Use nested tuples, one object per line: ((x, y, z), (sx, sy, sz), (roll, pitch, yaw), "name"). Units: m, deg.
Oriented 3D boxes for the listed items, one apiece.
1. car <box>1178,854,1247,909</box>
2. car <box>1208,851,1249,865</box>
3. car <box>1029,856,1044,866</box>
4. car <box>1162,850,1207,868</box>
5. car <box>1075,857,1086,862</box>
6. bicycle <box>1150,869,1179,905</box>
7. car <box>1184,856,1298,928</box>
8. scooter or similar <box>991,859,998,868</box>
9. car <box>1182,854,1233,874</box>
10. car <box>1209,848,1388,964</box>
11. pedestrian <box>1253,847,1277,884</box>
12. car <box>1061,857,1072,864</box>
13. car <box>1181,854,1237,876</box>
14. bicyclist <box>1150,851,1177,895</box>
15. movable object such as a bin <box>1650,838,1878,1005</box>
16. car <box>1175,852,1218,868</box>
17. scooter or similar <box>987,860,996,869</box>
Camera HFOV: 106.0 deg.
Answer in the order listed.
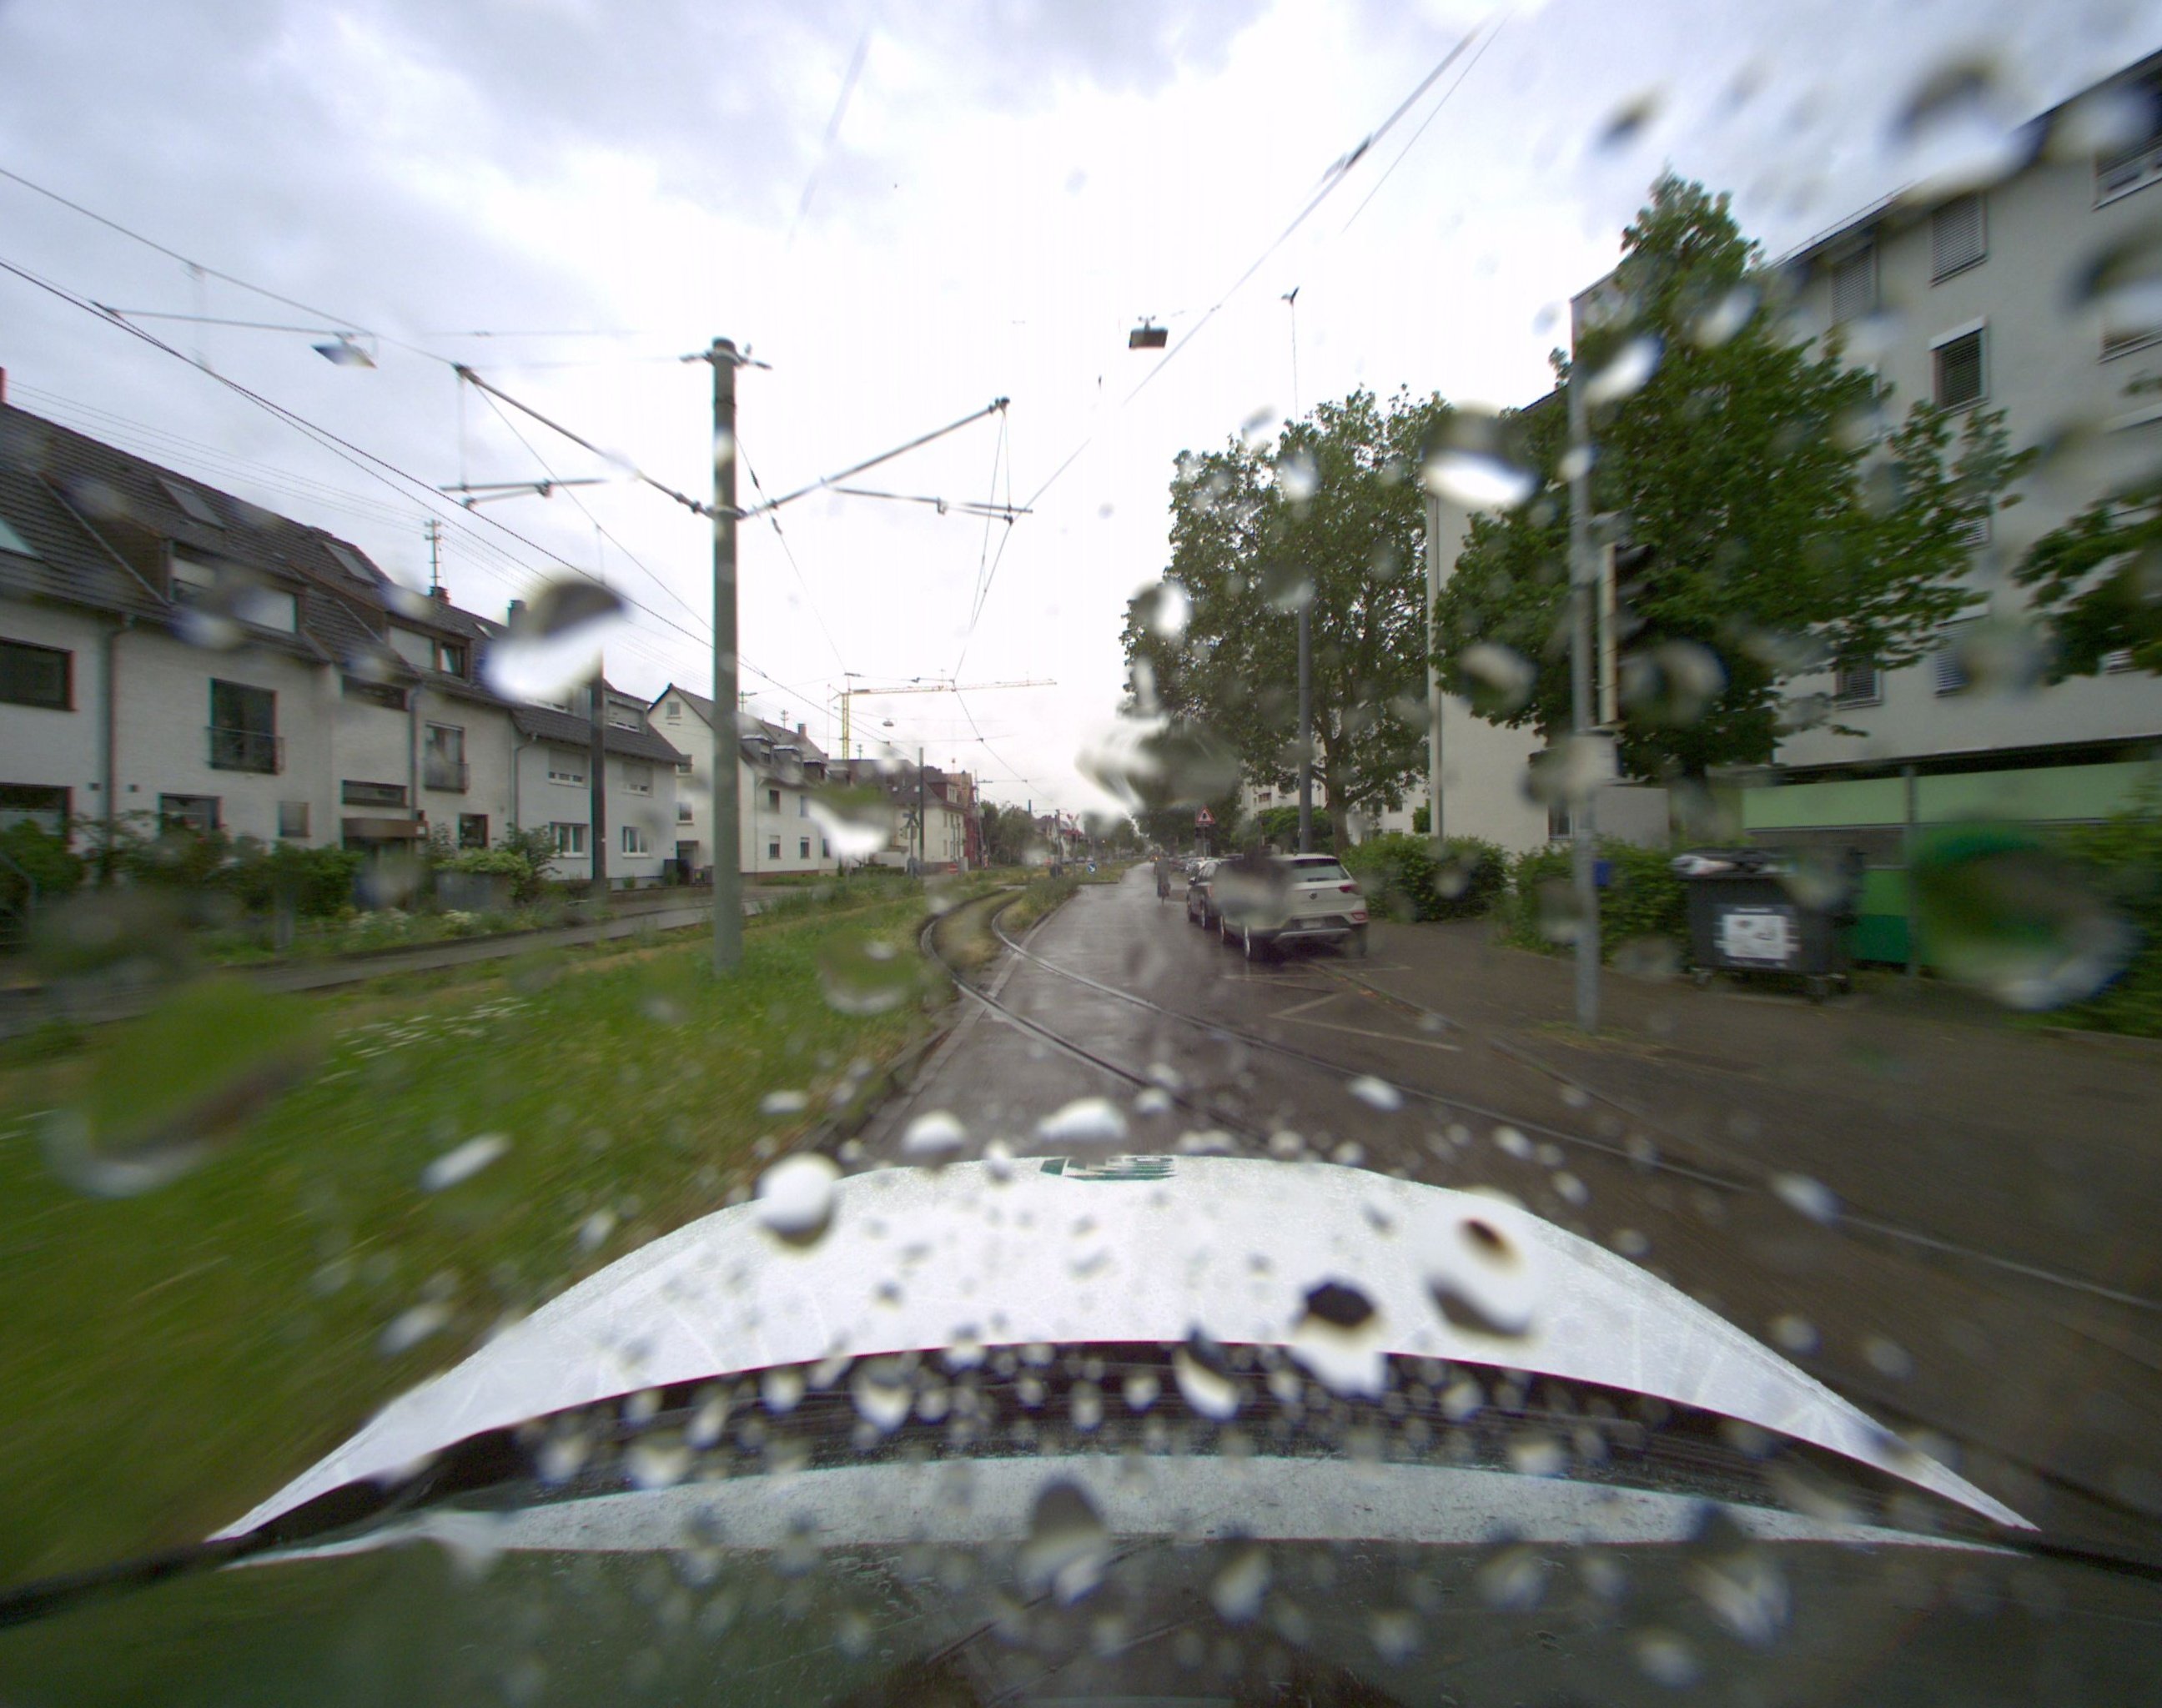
((3.966, 0.790, 25.062), (1.552, 1.519, 4.002), (-2, 0, 2), "car")
((19.251, 0.481, 106.211), (4.804, 1.745, 1.993), (-1, 0, -11), "car")
((-7.157, 1.129, 131.471), (1.701, 1.542, 4.430), (1, 0, 7), "car")
((10.298, 0.527, 80.874), (4.370, 1.651, 1.837), (-1, 0, -37), "car")
((-0.088, 1.231, 186.801), (1.885, 1.244, 4.699), (1, 0, 9), "car")
((2.798, 1.085, 27.499), (0.806, 1.097, 2.518), (-1, 0, 2), "bicycle")
((3.566, 0.791, 18.918), (1.893, 1.449, 4.185), (-1, 0, 1), "car")
((-11.304, 1.280, 106.086), (0.390, 1.180, 1.289), (-1, 0, 20), "scooter or similar")
((10.232, 0.796, 65.797), (4.017, 1.508, 1.687), (-1, -2, -35), "car")
((3.356, 0.725, 13.423), (1.893, 1.575, 4.113), (-1, 0, 1), "car")
((9.215, 0.551, 40.733), (1.091, 1.813, 1.439), (-1, 0, 14), "pedestrian")
((-2.892, 1.265, 160.998), (1.655, 1.244, 4.078), (1, 0, 6), "car")
((9.863, 0.839, 62.691), (4.014, 1.508, 1.766), (-1, -2, -32), "car")
((2.791, 0.629, 27.490), (0.806, 1.433, 1.060), (-1, 0, 2), "bicyclist")
((6.677, 0.589, 7.999), (1.158, 1.441, 1.460), (-1, 0, -37), "movable object such as a bin")
((11.022, 0.574, 77.578), (4.018, 1.429, 1.715), (-1, 0, -37), "car")
((-11.345, 1.318, 102.976), (0.435, 1.129, 1.291), (-1, -1, 35), "scooter or similar")
